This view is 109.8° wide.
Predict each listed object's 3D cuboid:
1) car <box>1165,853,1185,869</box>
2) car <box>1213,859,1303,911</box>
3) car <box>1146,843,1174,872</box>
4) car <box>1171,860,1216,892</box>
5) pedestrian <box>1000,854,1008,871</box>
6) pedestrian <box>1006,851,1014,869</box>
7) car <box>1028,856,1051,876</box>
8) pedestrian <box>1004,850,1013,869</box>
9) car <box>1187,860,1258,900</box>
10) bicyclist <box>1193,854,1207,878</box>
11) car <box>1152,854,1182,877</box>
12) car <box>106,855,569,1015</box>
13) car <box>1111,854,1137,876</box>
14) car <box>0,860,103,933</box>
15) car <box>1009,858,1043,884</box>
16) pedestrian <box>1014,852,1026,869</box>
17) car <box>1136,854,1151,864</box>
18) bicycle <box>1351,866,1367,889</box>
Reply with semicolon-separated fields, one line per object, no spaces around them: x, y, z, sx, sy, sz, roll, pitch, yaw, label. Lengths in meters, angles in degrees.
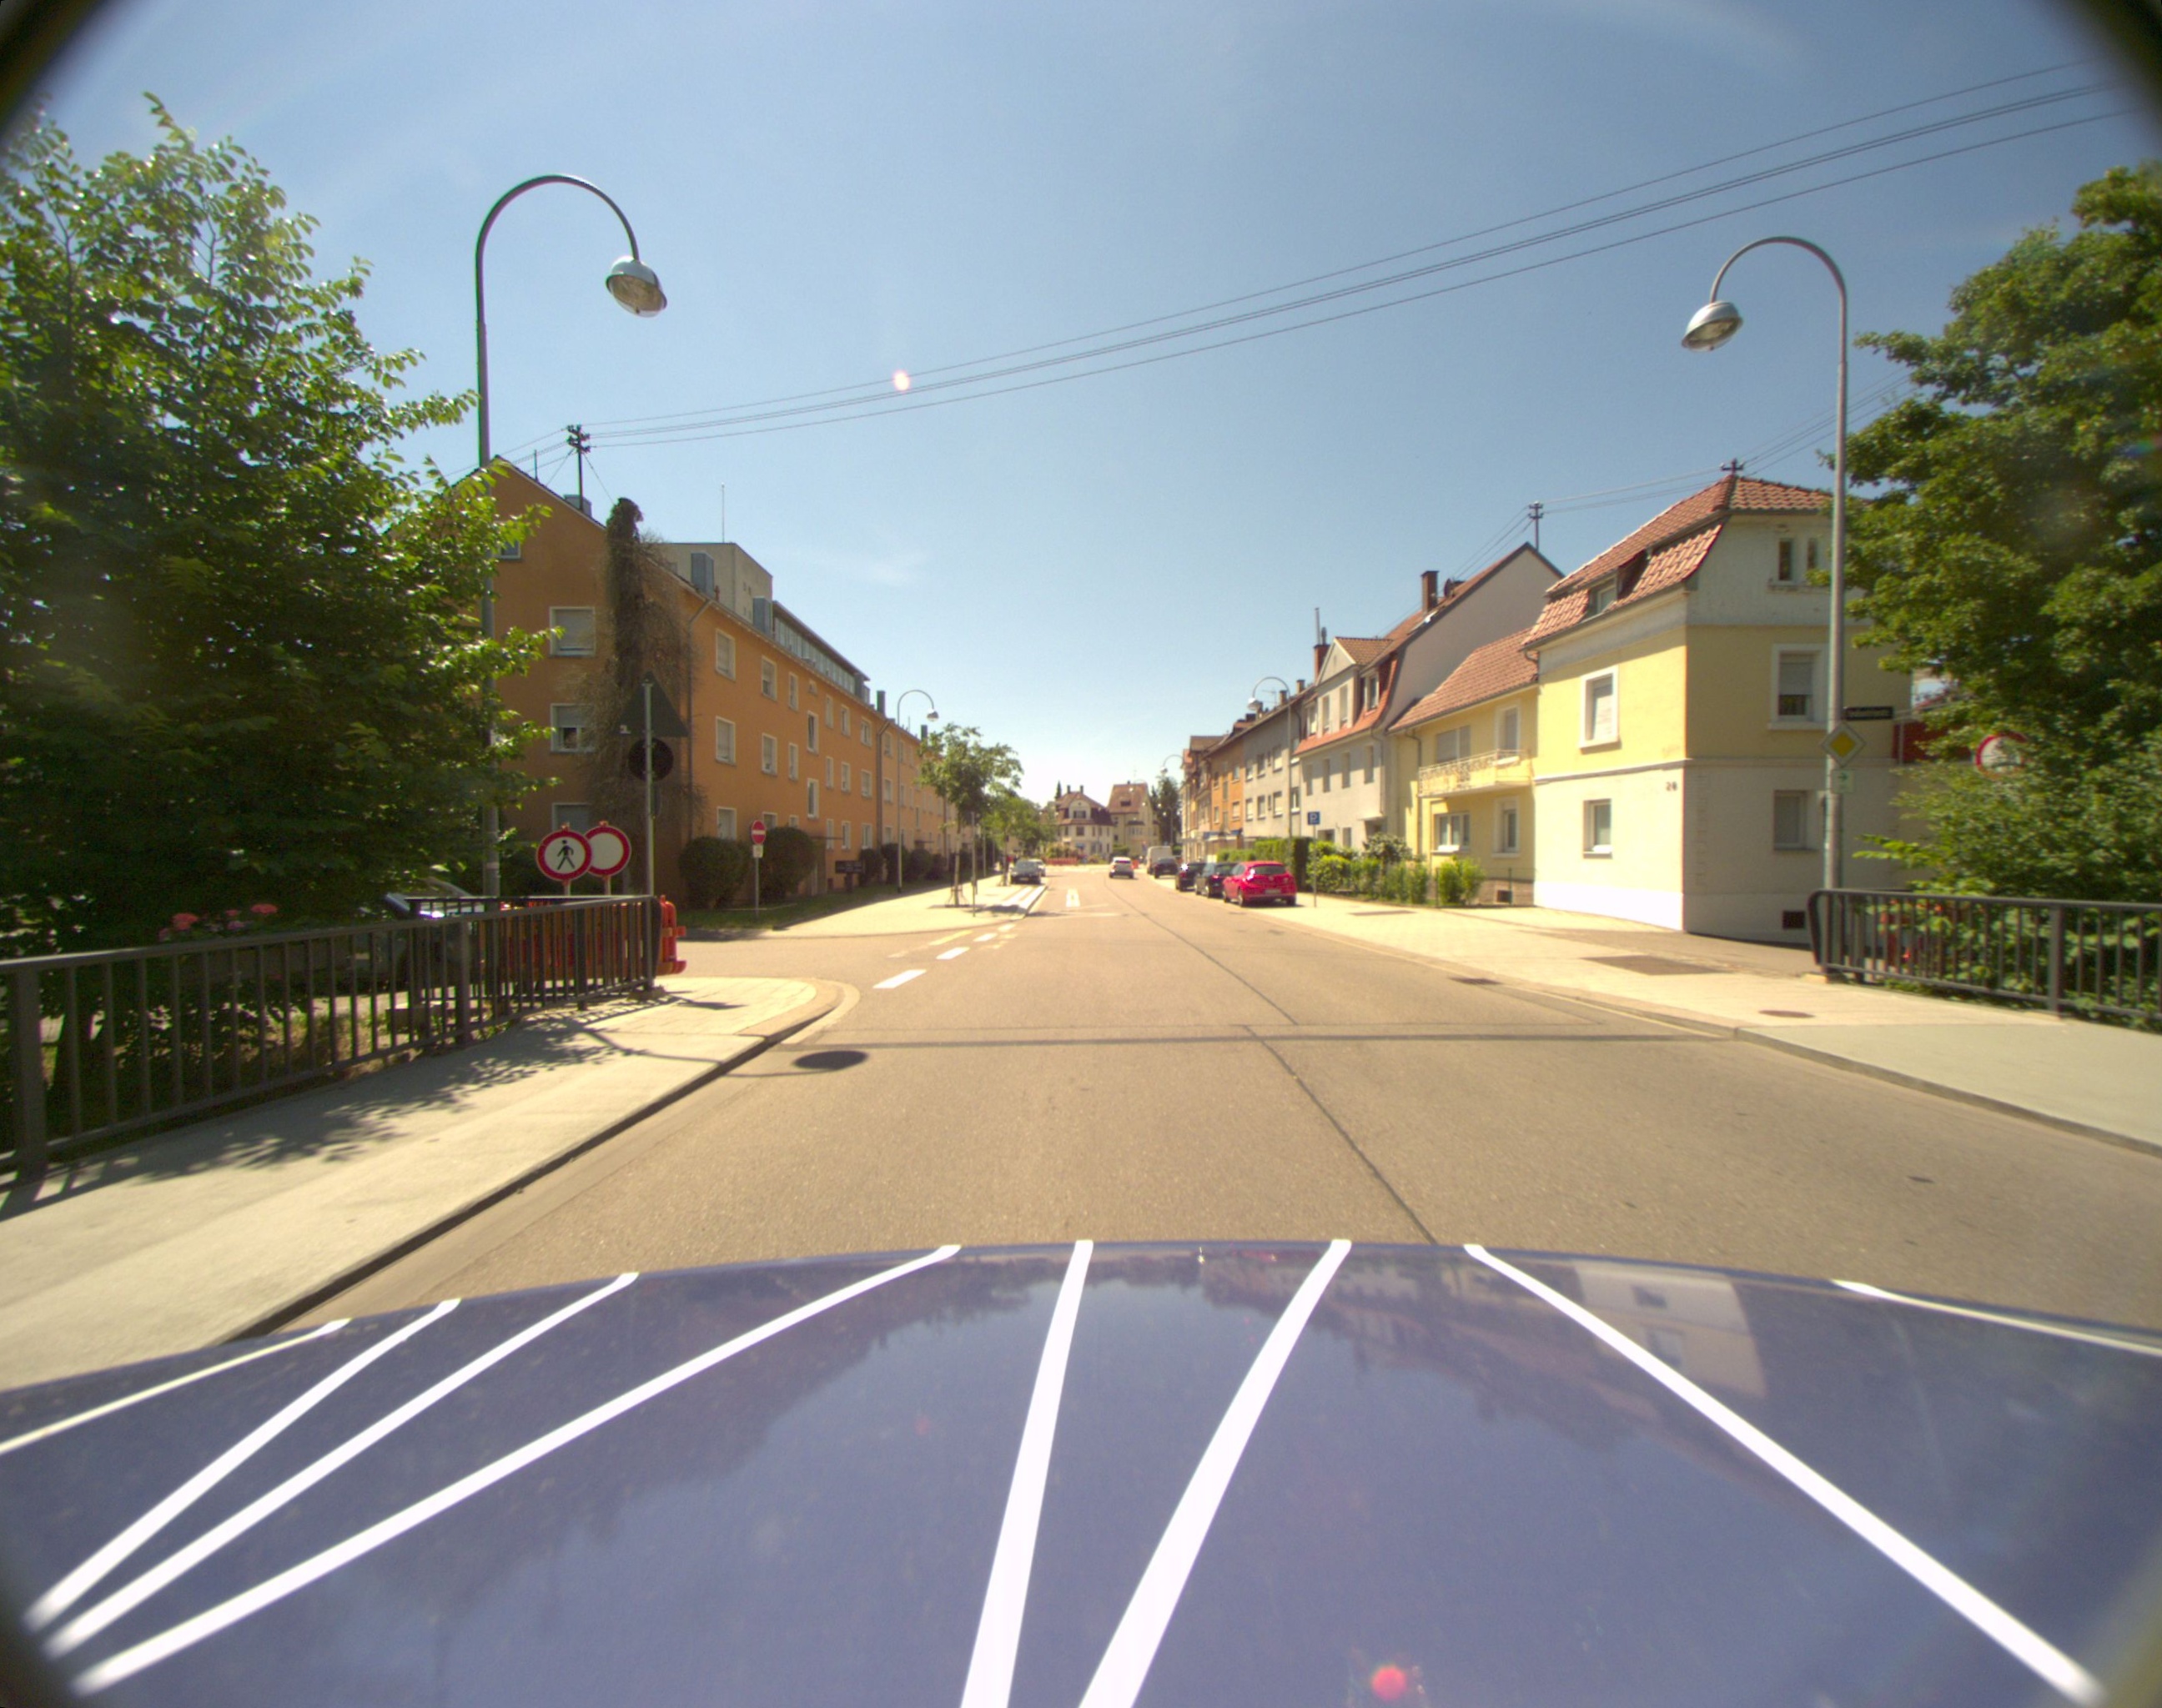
9.850;0.713;79.652;1.798;1.532;4.116;-2;0;4;car
5.966;0.994;26.210;1.882;1.471;4.737;-3;0;0;car
7.219;0.278;69.885;2.124;2.435;6.118;-2;0;3;car
5.588;1.063;38.141;1.792;1.450;4.198;-3;0;3;car
-7.976;0.852;78.615;0.796;1.768;1.008;0;1;-4;pedestrian
-7.311;0.617;78.283;0.790;1.801;1.005;2;1;-4;pedestrian
-3.591;1.003;65.071;1.818;1.468;4.504;1;1;-5;car
-7.123;0.544;74.999;0.823;1.842;0.984;0;0;-4;pedestrian
5.841;1.014;32.002;1.868;1.453;5.306;-2;0;-1;car
7.964;0.802;51.071;0.784;1.649;0.835;0;1;-2;bicyclist
6.702;0.846;58.845;2.089;1.605;5.112;-2;0;9;car
-10.038;1.014;10.640;4.351;1.828;1.748;-2;1;-9;car
3.322;0.817;59.425;1.882;1.587;4.360;1;0;1;car
-27.573;1.065;18.784;2.000;1.773;3.996;-1;0;-11;car
-3.432;1.021;48.295;1.838;1.495;5.063;2;0;-1;car
-6.348;0.647;78.630;1.174;1.723;1.190;2;1;-5;pedestrian
9.903;0.780;121.097;1.800;1.481;4.388;-2;2;-2;car
11.790;0.982;32.235;0.233;0.902;1.163;-1;2;-2;bicycle
